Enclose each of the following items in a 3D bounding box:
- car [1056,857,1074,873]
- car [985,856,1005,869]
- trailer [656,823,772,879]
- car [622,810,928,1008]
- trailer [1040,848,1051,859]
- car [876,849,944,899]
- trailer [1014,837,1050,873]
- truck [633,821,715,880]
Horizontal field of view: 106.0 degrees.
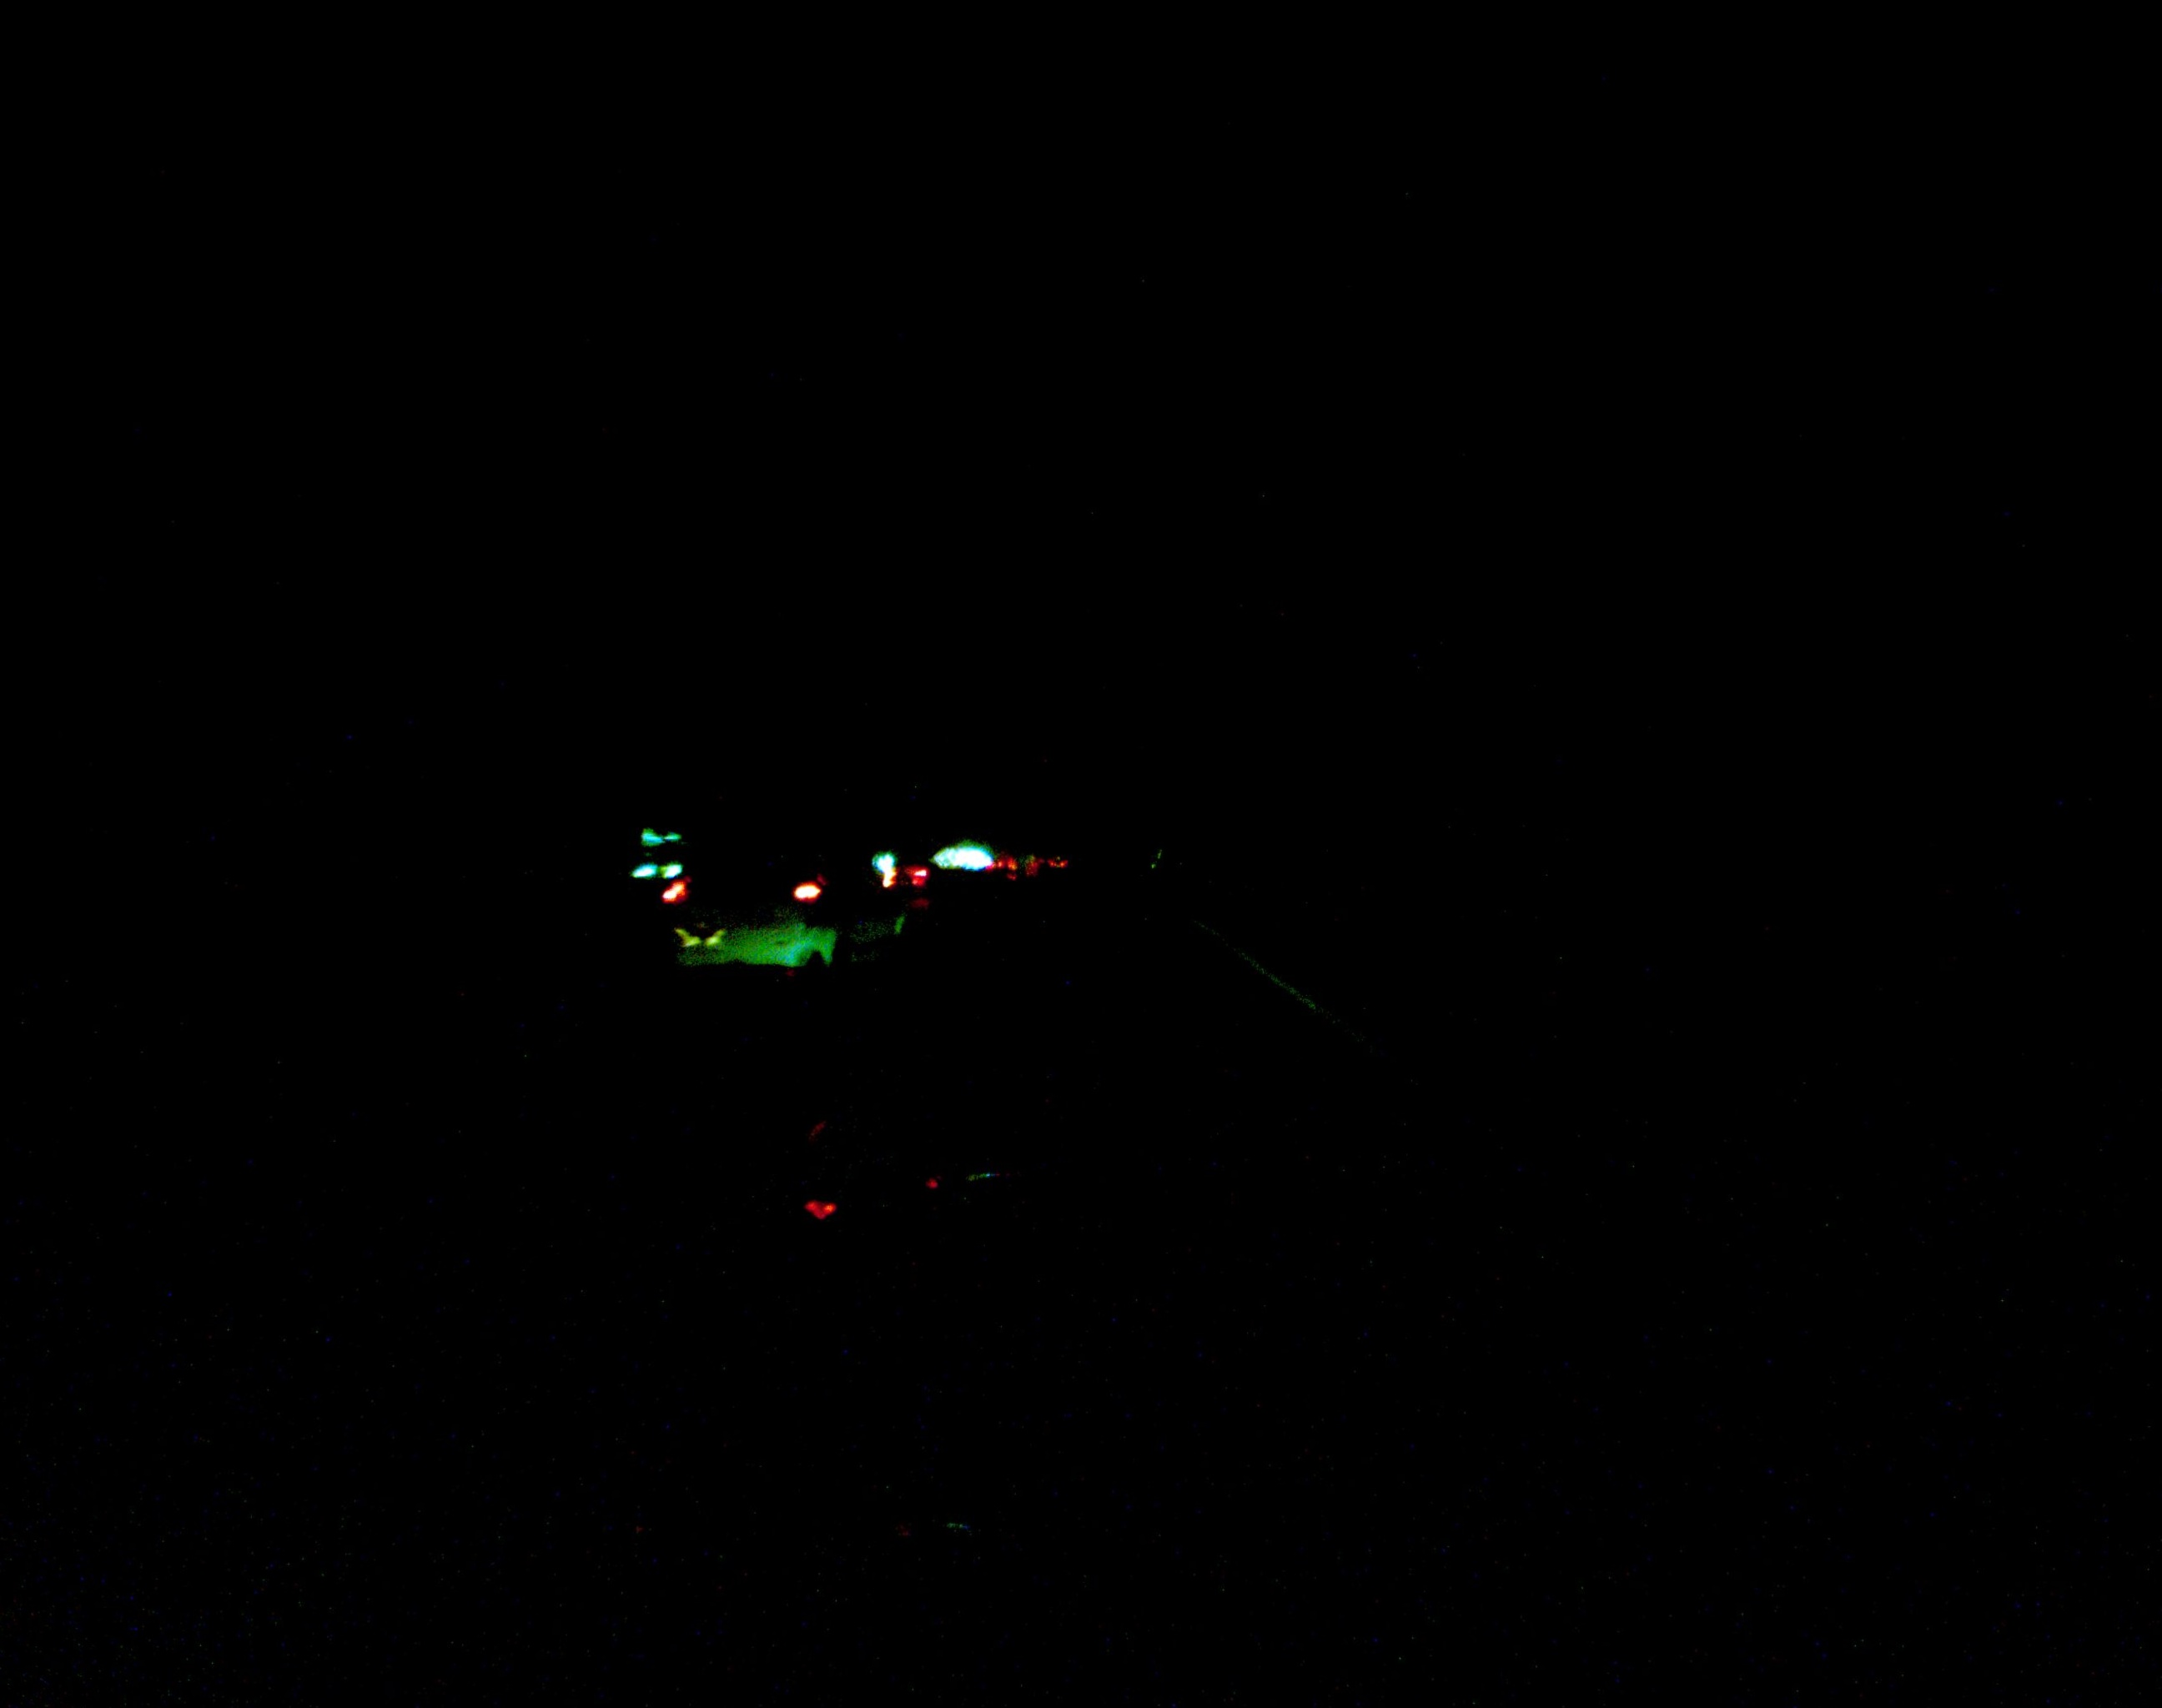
[{"bbox_3d":[-1.999,1.397,102.792,1.985,1.818,4.003,2,-1,3],"label":"car"},{"bbox_3d":[-10.806,1.056,102.457,1.988,1.618,3.998,2,-1,-1],"label":"car"},{"bbox_3d":[-30.288,-0.122,68.392,2.718,4.090,14.861,2,-1,1],"label":"trailer"},{"bbox_3d":[-3.615,0.593,10.858,1.986,2.014,5.020,0,-1,2],"label":"car"},{"bbox_3d":[-9.272,-0.067,213.726,2.681,2.700,12.842,2,-1,-3],"label":"trailer"},{"bbox_3d":[-7.516,0.860,36.292,1.987,2.014,4.566,2,-1,0],"label":"car"},{"bbox_3d":[-5.411,0.199,91.972,2.582,3.725,13.657,3,-1,2],"label":"trailer"},{"bbox_3d":[-30.390,-0.193,61.069,2.718,4.090,6.268,2,-1,1],"label":"truck"}]
